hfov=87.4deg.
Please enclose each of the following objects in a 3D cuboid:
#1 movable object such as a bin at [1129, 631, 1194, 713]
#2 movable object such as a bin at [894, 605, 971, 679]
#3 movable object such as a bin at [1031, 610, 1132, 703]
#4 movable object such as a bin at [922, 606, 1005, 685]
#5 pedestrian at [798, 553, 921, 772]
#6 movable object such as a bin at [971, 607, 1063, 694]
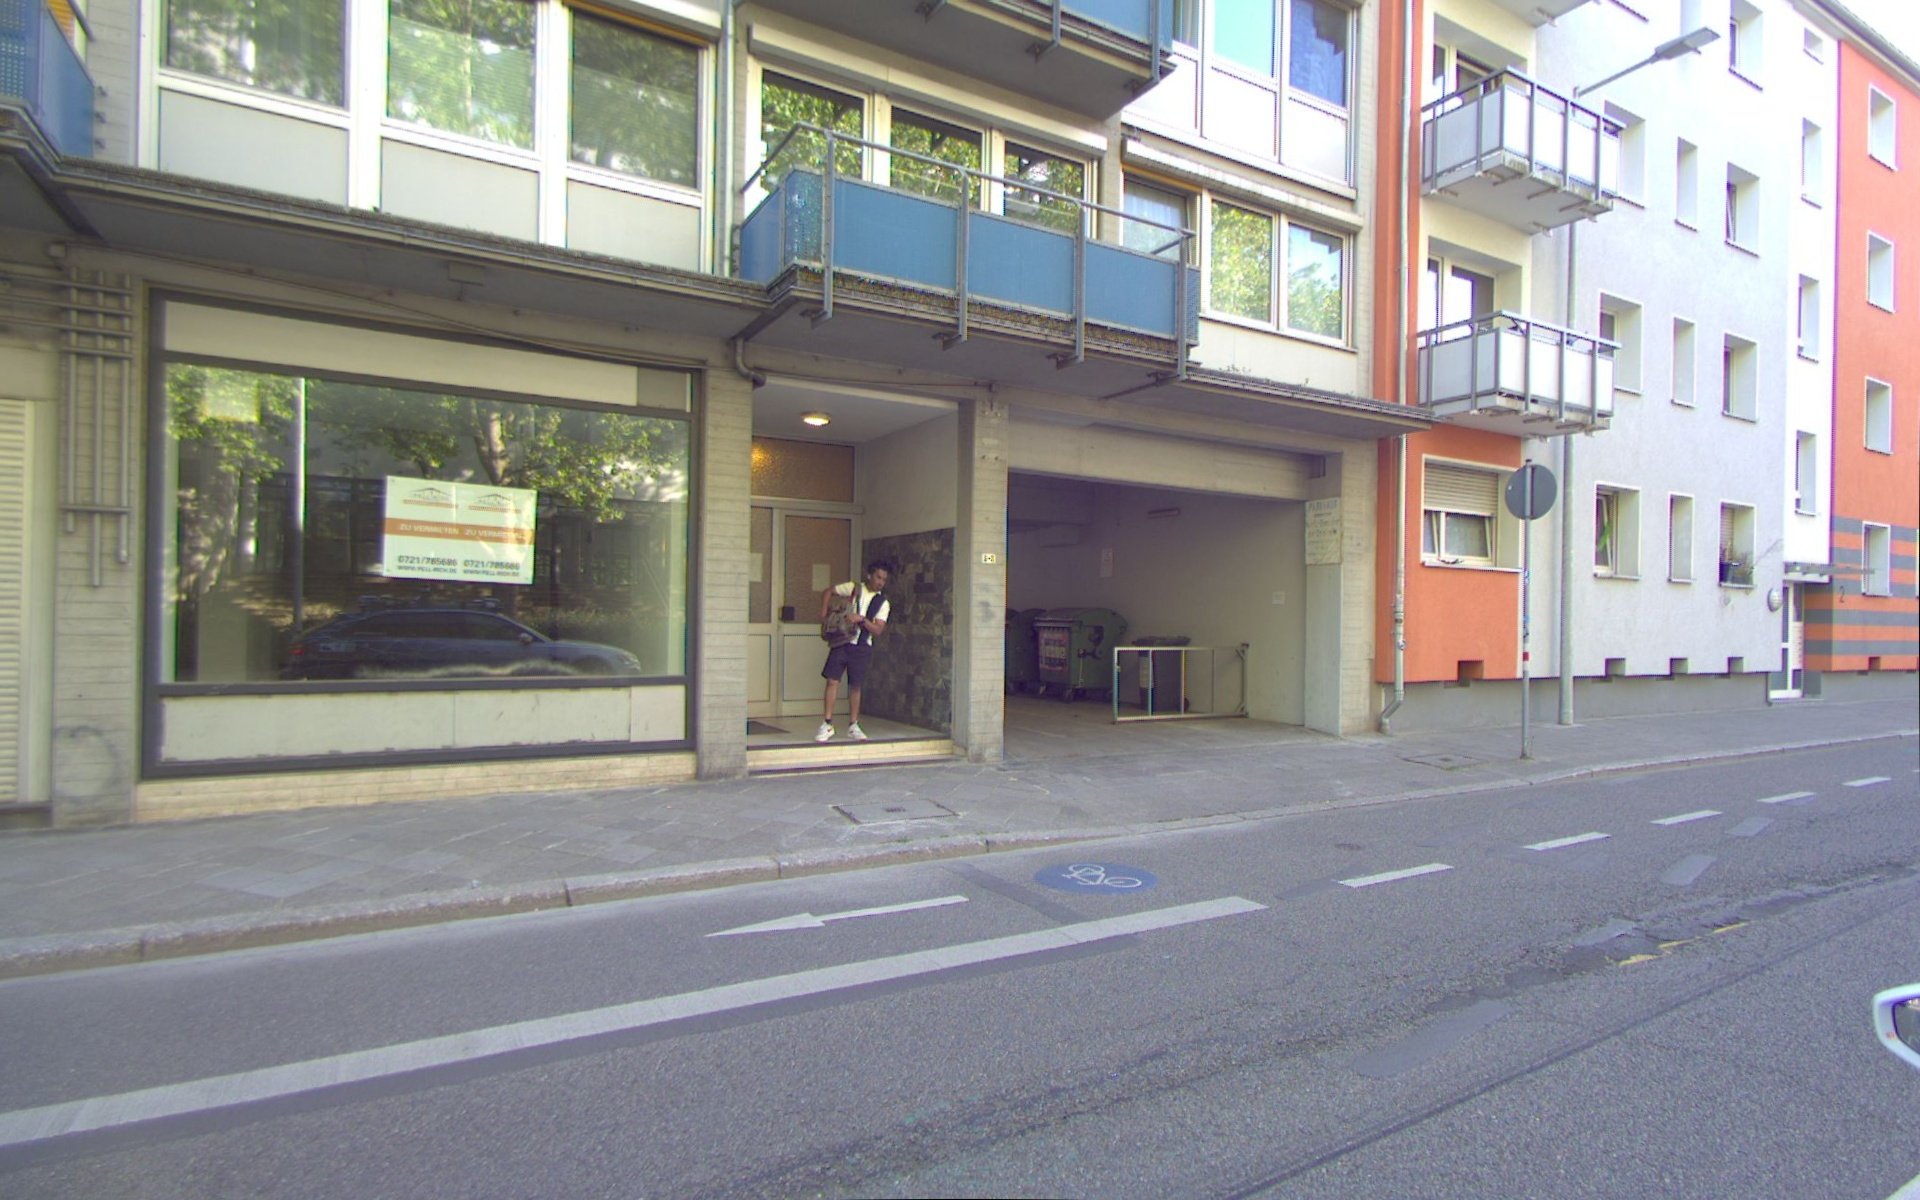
[{"bbox_3d":[2.903,1.026,14.466,0.650,1.115,0.626,2,0,-27],"label":"movable object such as a bin"},{"bbox_3d":[-0.558,0.810,19.869,1.066,1.384,1.255,2,0,-27],"label":"movable object such as a bin"},{"bbox_3d":[1.903,0.867,15.816,1.066,1.384,1.192,2,0,-27],"label":"movable object such as a bin"},{"bbox_3d":[0.050,0.823,18.700,1.066,1.384,1.255,2,0,-27],"label":"movable object such as a bin"},{"bbox_3d":[-0.934,0.553,9.259,0.882,1.902,0.703,2,0,-28],"label":"pedestrian"},{"bbox_3d":[0.961,0.844,17.131,1.066,1.384,1.255,2,0,-27],"label":"movable object such as a bin"}]
